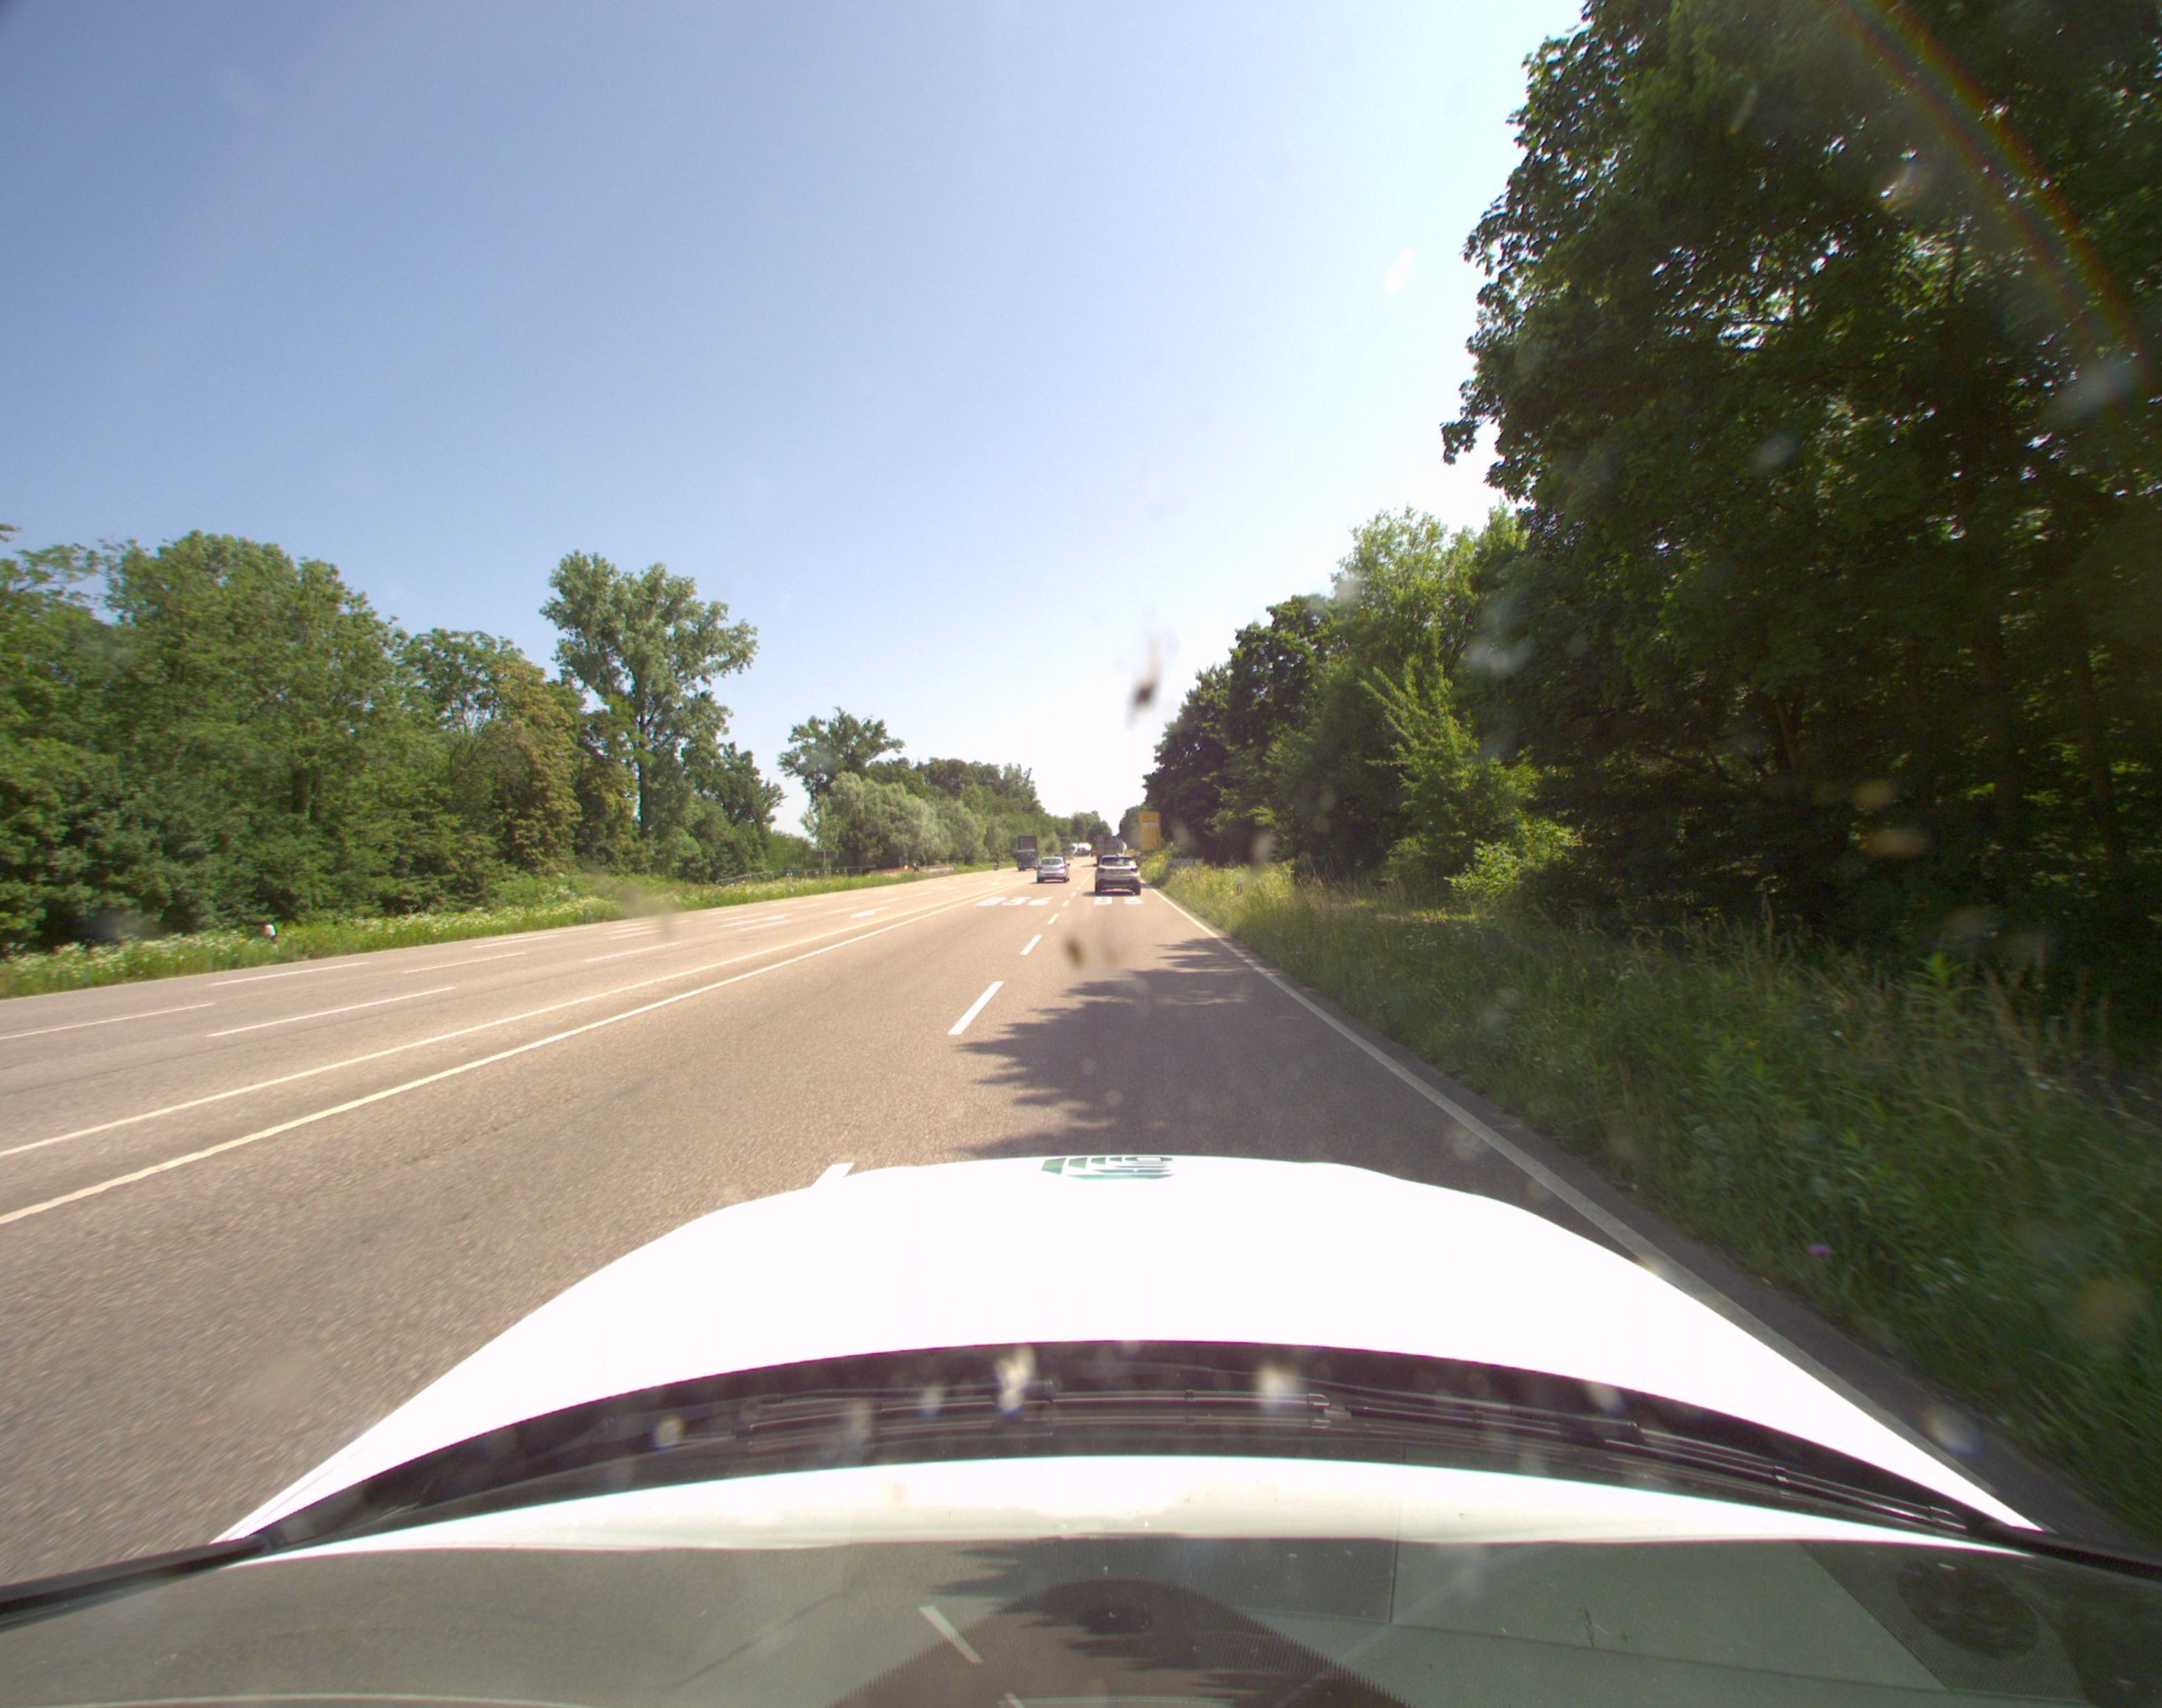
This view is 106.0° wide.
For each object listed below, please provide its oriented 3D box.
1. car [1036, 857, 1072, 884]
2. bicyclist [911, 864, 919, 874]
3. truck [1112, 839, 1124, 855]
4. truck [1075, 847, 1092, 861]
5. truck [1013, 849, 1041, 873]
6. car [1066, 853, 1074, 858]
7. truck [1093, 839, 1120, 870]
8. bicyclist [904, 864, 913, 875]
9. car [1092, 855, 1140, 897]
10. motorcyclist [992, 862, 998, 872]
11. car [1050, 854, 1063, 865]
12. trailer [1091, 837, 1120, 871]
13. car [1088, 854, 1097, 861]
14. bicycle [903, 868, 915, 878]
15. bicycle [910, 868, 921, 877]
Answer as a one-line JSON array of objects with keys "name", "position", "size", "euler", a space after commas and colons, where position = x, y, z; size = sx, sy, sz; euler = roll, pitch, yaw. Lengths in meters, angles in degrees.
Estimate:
[{"name": "car", "position": [-1.457, 0.919, 45.919], "size": [1.658, 1.430, 3.831], "euler": [-1, 0, 3]}, {"name": "bicyclist", "position": [-20.197, 1.857, 99.138], "size": [0.730, 1.195, 0.594], "euler": [-4, -1, 13]}, {"name": "truck", "position": [10.828, -2.012, 239.093], "size": [3.484, 4.188, 10.788], "euler": [-1, -1, 2]}, {"name": "truck", "position": [0.765, 0.065, 240.737], "size": [3.644, 4.105, 9.483], "euler": [-3, 0, -8]}, {"name": "truck", "position": [-6.484, 0.827, 99.130], "size": [2.444, 2.656, 6.496], "euler": [-5, 0, 3]}, {"name": "car", "position": [-3.581, 0.543, 258.470], "size": [1.995, 1.585, 3.984], "euler": [-1, -1, -11]}, {"name": "truck", "position": [3.509, 0.112, 109.704], "size": [3.319, 3.989, 6.539], "euler": [-1, -1, 3]}, {"name": "bicyclist", "position": [-20.323, 1.798, 96.073], "size": [0.752, 1.195, 0.594], "euler": [-4, 0, 13]}, {"name": "car", "position": [1.420, 0.832, 32.432], "size": [1.760, 1.535, 4.004], "euler": [-2, 0, 3]}, {"name": "motorcyclist", "position": [-12.270, 1.884, 116.245], "size": [0.575, 1.353, 0.754], "euler": [-3, -1, 0]}, {"name": "car", "position": [-4.757, 1.026, 157.490], "size": [1.986, 1.882, 4.962], "euler": [-3, 0, 2]}, {"name": "trailer", "position": [3.197, 0.066, 104.462], "size": [3.368, 3.989, 10.813], "euler": [-1, -1, 3]}, {"name": "car", "position": [3.105, 0.938, 219.247], "size": [1.985, 2.013, 4.557], "euler": [-3, 0, 3]}, {"name": "bicycle", "position": [-20.299, 2.253, 96.084], "size": [0.671, 1.005, 1.806], "euler": [-4, 0, 12]}, {"name": "bicycle", "position": [-20.173, 2.250, 99.178], "size": [0.600, 1.006, 1.561], "euler": [-4, -1, 14]}]
